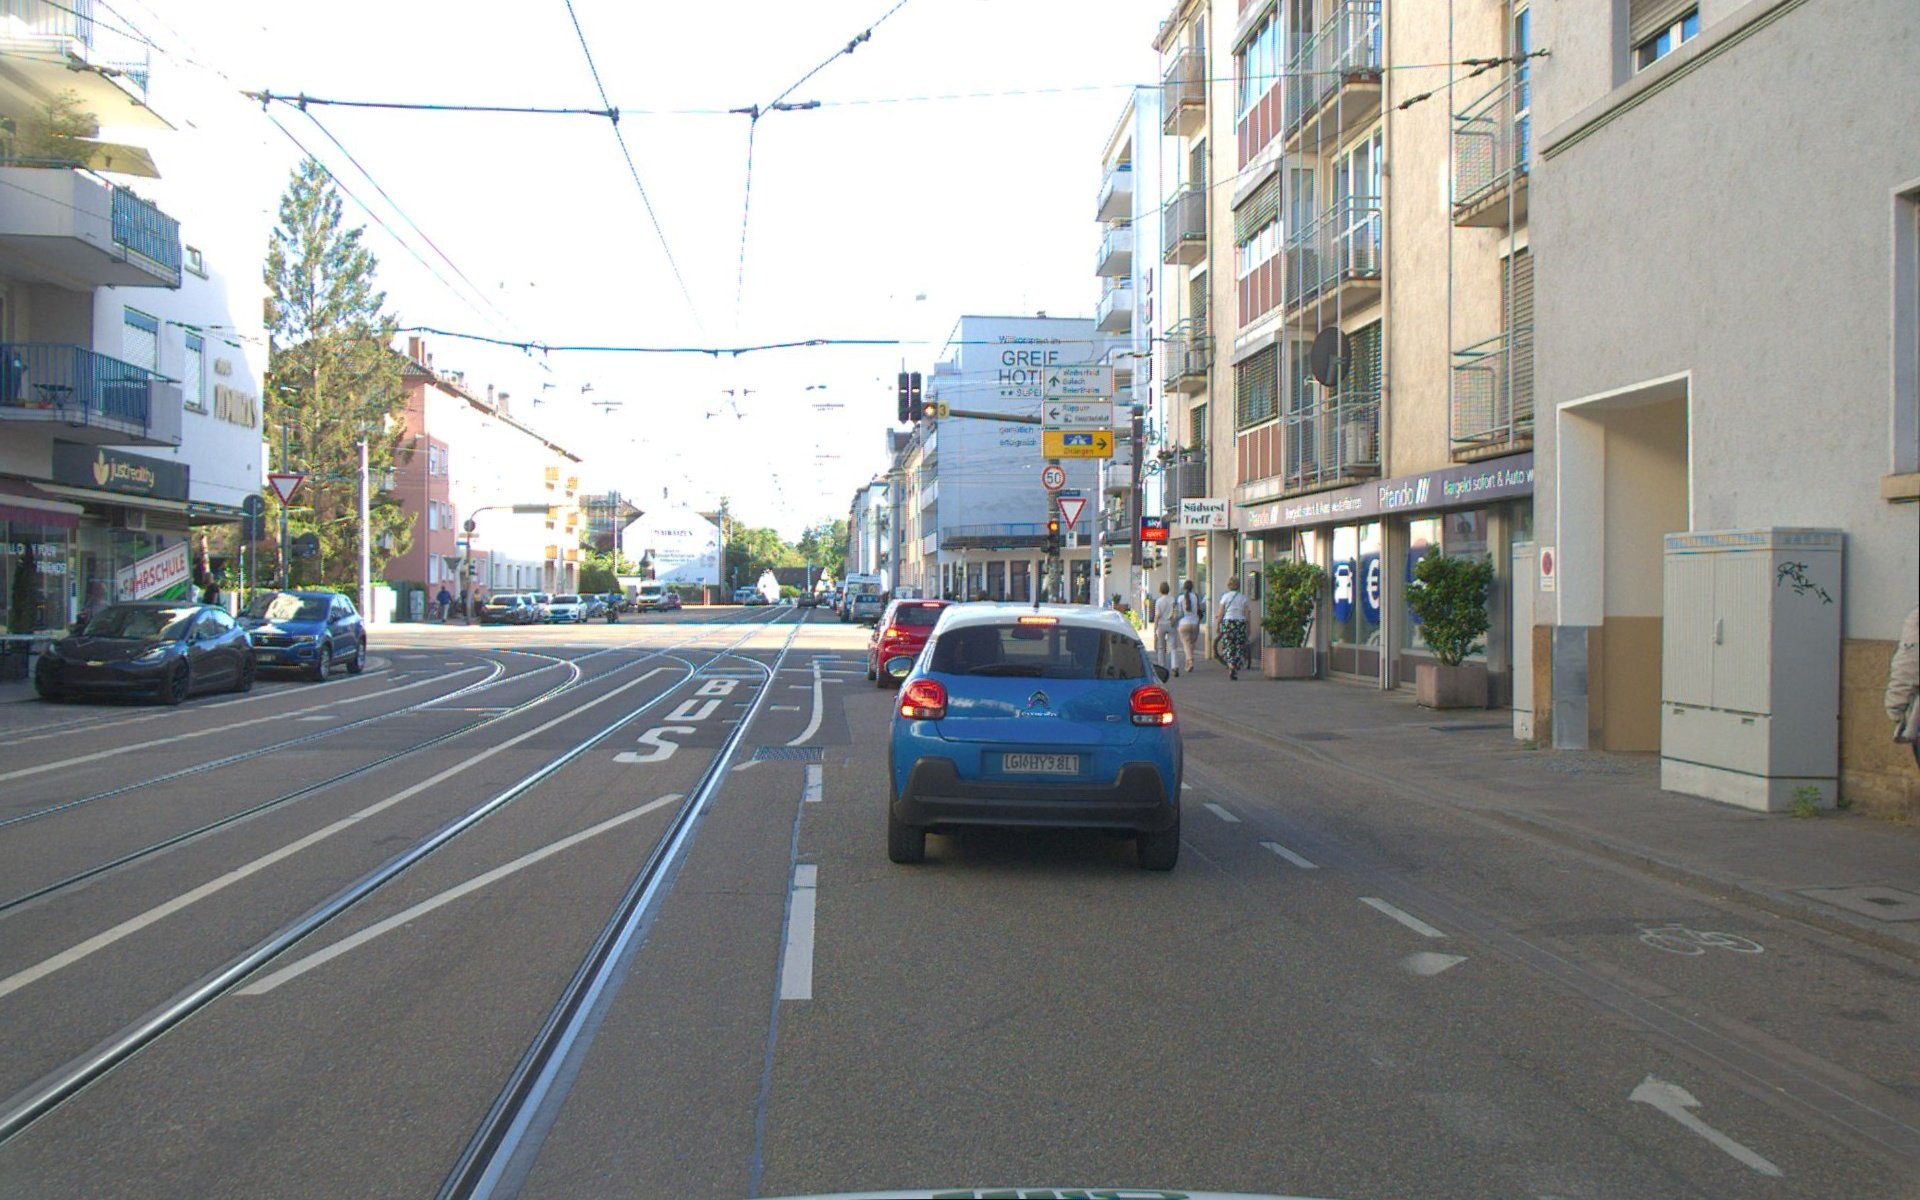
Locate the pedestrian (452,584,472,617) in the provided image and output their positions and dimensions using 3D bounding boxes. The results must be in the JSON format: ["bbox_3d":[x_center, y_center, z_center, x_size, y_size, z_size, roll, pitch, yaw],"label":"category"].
[{"bbox_3d":[-25.931,0.007,86.182,0.826,1.720,0.737,0,0,1],"label":"pedestrian"}]

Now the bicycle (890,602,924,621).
[{"bbox_3d":[-2.654,0.570,83.526,1.685,0.973,0.701,0,0,0],"label":"bicycle"}]

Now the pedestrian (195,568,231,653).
[{"bbox_3d":[-18.025,0.257,39.932,0.673,2.049,0.485,0,0,-8],"label":"pedestrian"}]

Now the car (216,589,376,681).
[{"bbox_3d":[-12.182,0.617,30.579,1.711,1.536,3.994,2,-1,-7],"label":"car"}]

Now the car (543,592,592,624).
[{"bbox_3d":[-20.330,0.412,85.712,1.813,1.601,4.397,0,0,-5],"label":"car"}]

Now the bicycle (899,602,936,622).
[{"bbox_3d":[-2.098,0.573,82.185,1.835,0.973,0.701,0,0,0],"label":"bicycle"}]

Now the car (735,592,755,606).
[{"bbox_3d":[-23.891,-0.155,183.867,1.982,1.552,3.995,0,0,-6],"label":"car"}]

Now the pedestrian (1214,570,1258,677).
[{"bbox_3d":[4.510,0.375,27.084,0.530,1.701,0.650,-2,0,-4],"label":"pedestrian"}]

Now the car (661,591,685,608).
[{"bbox_3d":[-27.543,-0.073,158.635,1.982,1.552,3.995,0,0,-6],"label":"car"}]

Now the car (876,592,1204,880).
[{"bbox_3d":[0.482,0.716,10.791,1.708,1.488,4.001,1,0,2],"label":"car"}]

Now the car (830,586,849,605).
[{"bbox_3d":[-10.686,-0.380,146.363,1.655,1.646,3.997,1,0,-4],"label":"car"}]

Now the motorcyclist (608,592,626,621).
[{"bbox_3d":[-16.951,0.317,81.781,0.704,1.402,0.911,0,0,-2],"label":"motorcyclist"}]

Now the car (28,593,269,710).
[{"bbox_3d":[-11.841,0.714,24.455,1.666,1.536,4.308,2,-1,-4],"label":"car"}]

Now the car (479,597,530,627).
[{"bbox_3d":[-22.909,0.570,83.293,1.875,1.458,3.994,0,0,-7],"label":"car"}]

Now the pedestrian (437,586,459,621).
[{"bbox_3d":[-24.785,0.170,80.140,0.826,1.720,0.737,0,0,1],"label":"pedestrian"}]

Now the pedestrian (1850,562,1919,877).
[{"bbox_3d":[5.142,0.579,8.312,0.809,1.561,0.868,-2,0,-4],"label":"pedestrian"}]

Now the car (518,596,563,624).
[{"bbox_3d":[-23.710,0.523,93.620,1.874,1.523,3.995,0,0,-6],"label":"car"}]

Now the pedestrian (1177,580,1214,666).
[{"bbox_3d":[4.322,0.414,30.356,0.530,1.534,0.611,-2,2,-4],"label":"pedestrian"}]

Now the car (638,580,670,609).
[{"bbox_3d":[-24.706,-0.453,133.753,2.164,2.290,4.671,0,0,-6],"label":"car"}]

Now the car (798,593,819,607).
[{"bbox_3d":[-13.762,0.007,150.169,1.722,1.281,3.825,0,0,-9],"label":"car"}]

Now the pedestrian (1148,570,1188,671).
[{"bbox_3d":[3.615,0.351,28.782,0.530,1.701,0.624,-2,2,-4],"label":"pedestrian"}]

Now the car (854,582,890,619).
[{"bbox_3d":[-4.399,0.036,82.588,1.698,1.780,3.210,1,0,-5],"label":"car"}]

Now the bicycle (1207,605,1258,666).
[{"bbox_3d":[5.126,0.653,31.194,0.520,1.091,1.809,0,0,-5],"label":"bicycle"}]

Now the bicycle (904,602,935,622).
[{"bbox_3d":[-1.976,0.573,81.129,1.473,0.973,0.701,0,0,0],"label":"bicycle"}]

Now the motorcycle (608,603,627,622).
[{"bbox_3d":[-16.965,0.609,81.935,0.603,0.879,1.670,0,0,-2],"label":"motorcycle"}]

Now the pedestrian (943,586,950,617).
[{"bbox_3d":[-0.690,0.085,85.246,0.279,1.583,0.304,0,0,-10],"label":"pedestrian"}]

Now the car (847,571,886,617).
[{"bbox_3d":[-4.969,-0.314,87.487,1.955,2.366,3.996,1,0,-5],"label":"car"}]

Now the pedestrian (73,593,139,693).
[{"bbox_3d":[-13.649,0.675,26.450,0.683,1.575,0.721,0,1,-2],"label":"pedestrian"}]

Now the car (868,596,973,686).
[{"bbox_3d":[-0.697,0.655,28.694,1.703,1.445,3.999,0,0,-2],"label":"car"}]

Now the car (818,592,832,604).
[{"bbox_3d":[-21.096,-0.283,259.061,1.953,1.825,3.999,0,0,-2],"label":"car"}]

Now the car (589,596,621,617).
[{"bbox_3d":[-25.824,0.445,120.454,1.874,1.523,3.995,0,0,-6],"label":"car"}]

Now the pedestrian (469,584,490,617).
[{"bbox_3d":[-25.074,0.022,86.318,0.826,1.720,0.737,0,0,1],"label":"pedestrian"}]

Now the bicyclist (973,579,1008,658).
[{"bbox_3d":[0.657,0.392,35.448,0.711,1.674,0.790,0,0,-2],"label":"bicyclist"}]
